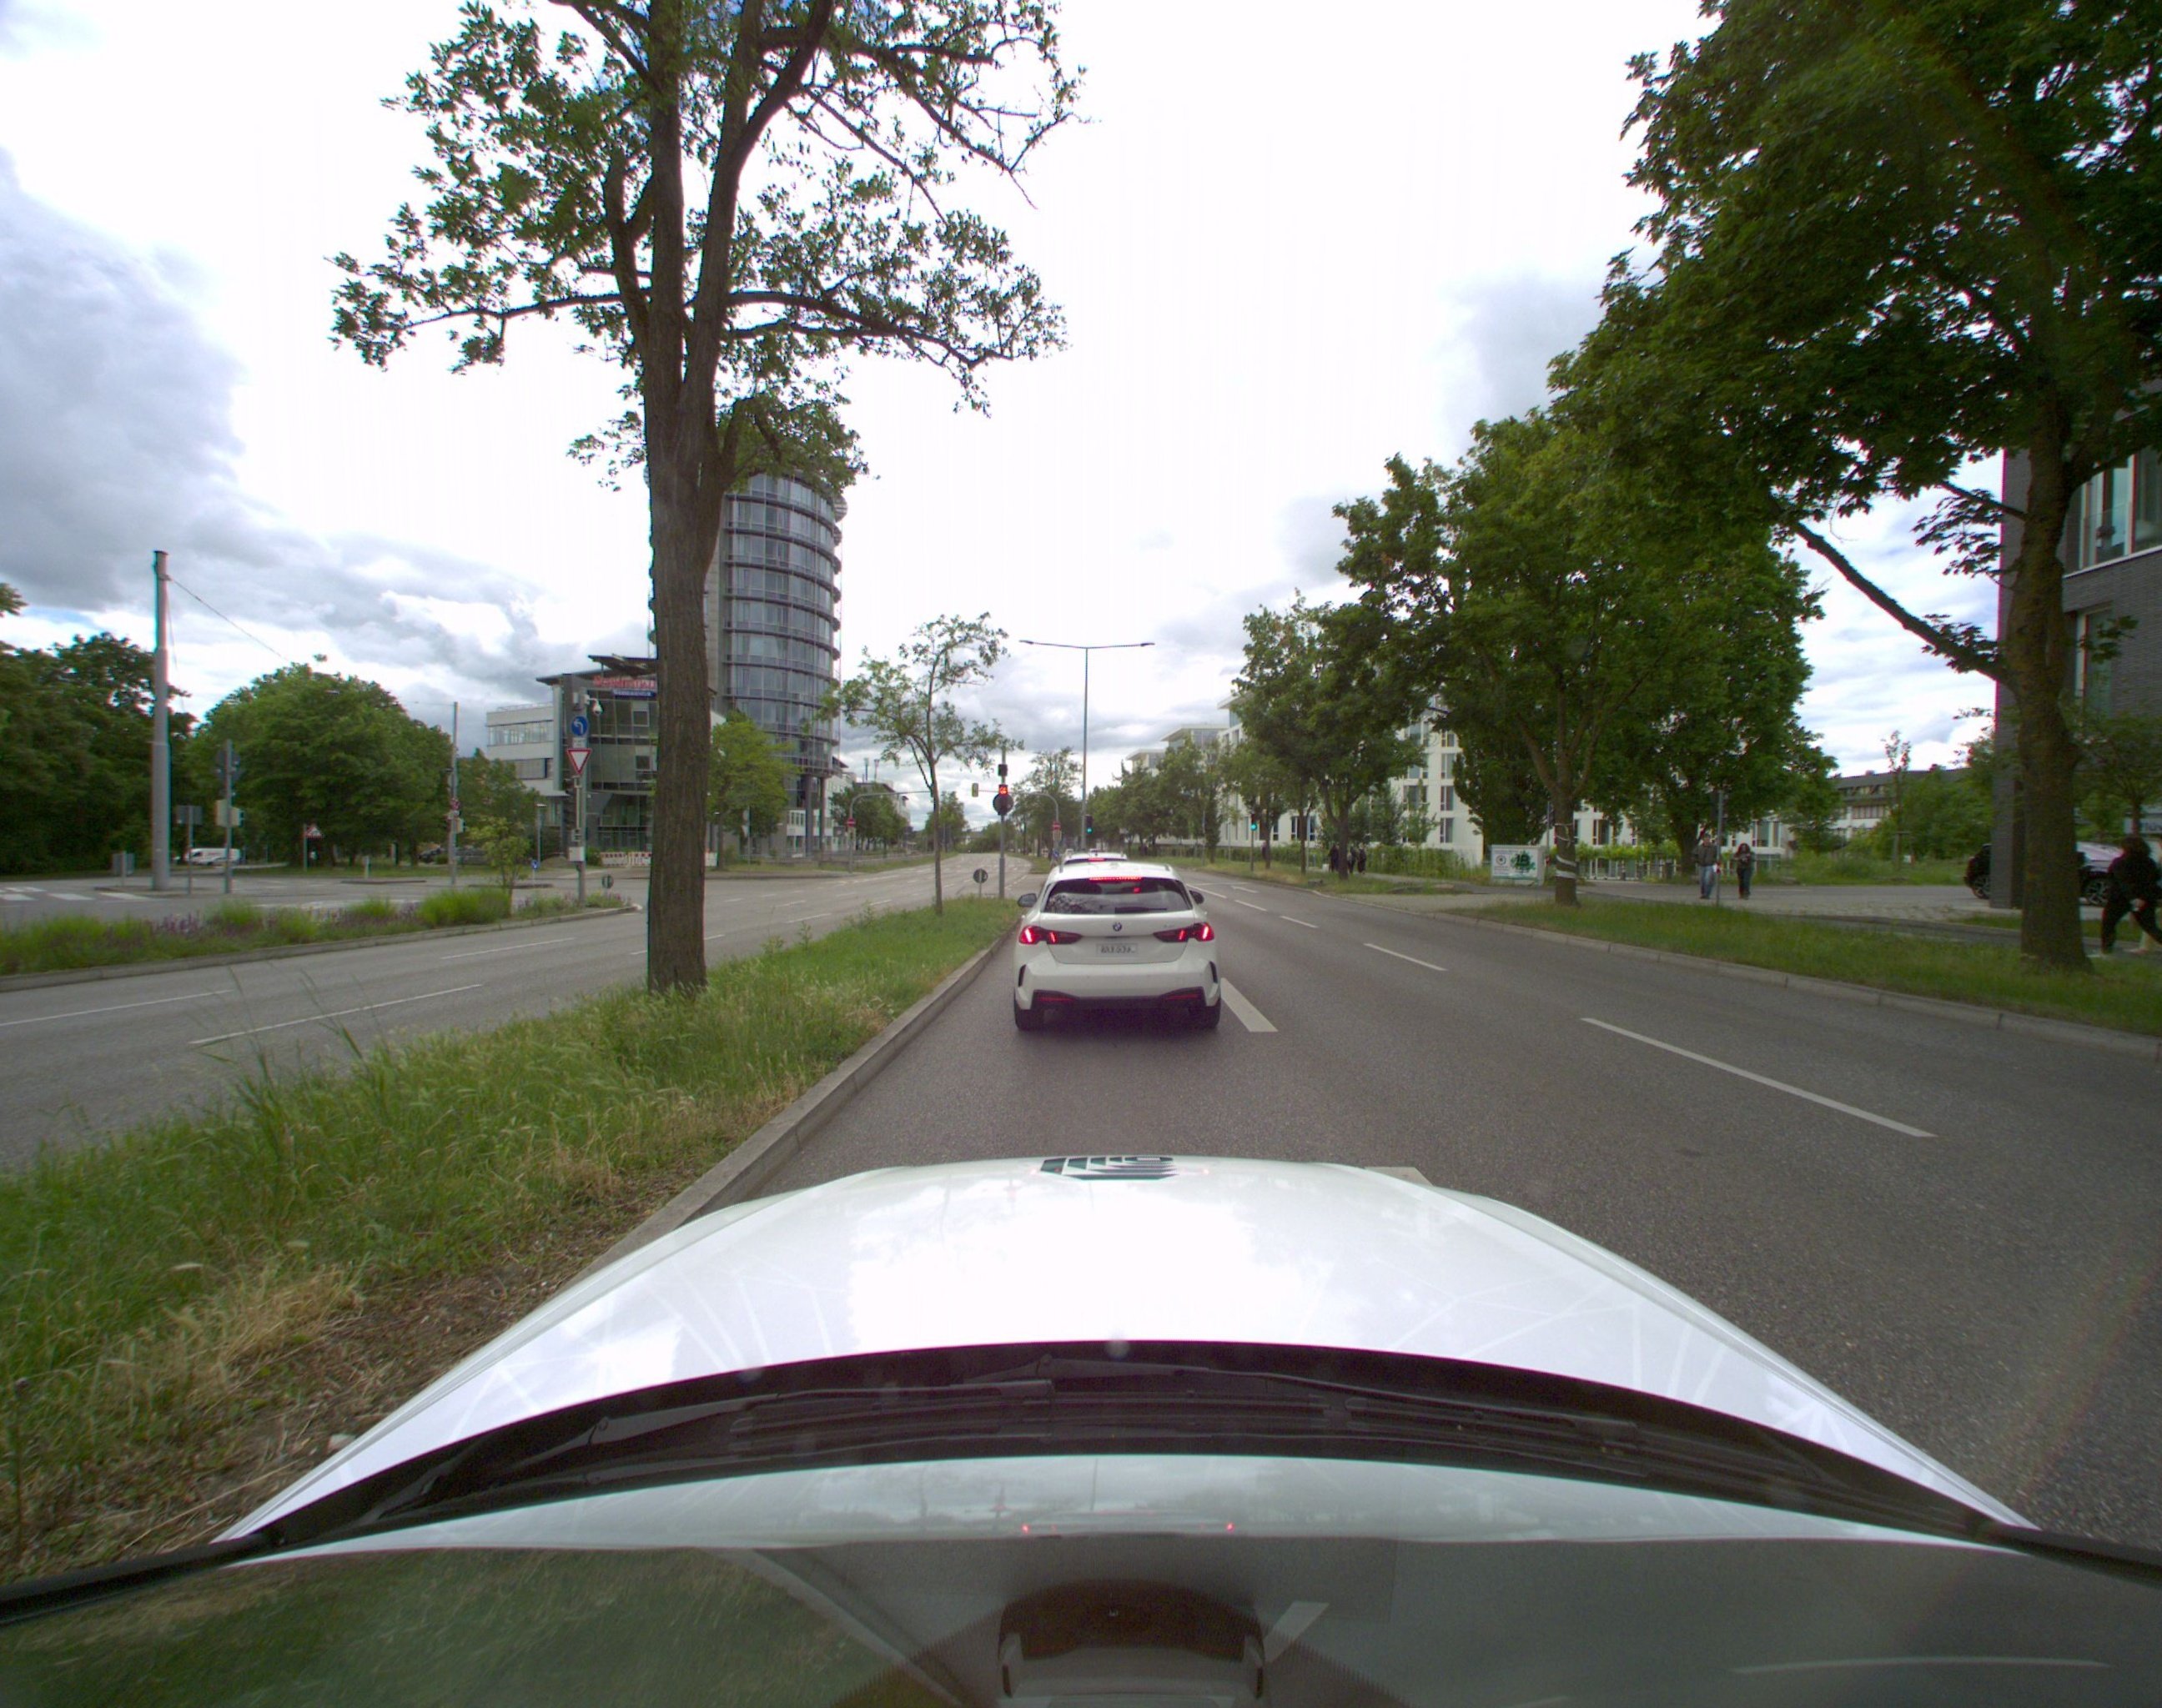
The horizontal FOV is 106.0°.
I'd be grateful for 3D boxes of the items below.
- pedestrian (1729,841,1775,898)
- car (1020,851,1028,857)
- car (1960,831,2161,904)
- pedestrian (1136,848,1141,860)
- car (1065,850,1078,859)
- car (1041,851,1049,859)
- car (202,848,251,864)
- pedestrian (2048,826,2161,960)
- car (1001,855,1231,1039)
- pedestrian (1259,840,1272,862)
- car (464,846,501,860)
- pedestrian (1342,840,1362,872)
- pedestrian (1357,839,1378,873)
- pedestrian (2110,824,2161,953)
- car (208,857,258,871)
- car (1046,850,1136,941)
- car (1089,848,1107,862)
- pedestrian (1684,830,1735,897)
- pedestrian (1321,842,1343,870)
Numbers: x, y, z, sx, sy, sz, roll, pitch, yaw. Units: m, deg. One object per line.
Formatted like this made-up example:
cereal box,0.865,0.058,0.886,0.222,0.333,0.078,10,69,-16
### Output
pedestrian,18.954,0.424,22.997,0.880,1.557,0.825,0,0,-38
car,-14.081,-0.021,201.201,1.597,1.666,3.997,0,0,-2
car,24.885,0.296,20.218,1.749,1.646,4.151,0,0,2
pedestrian,9.287,0.038,131.556,0.763,2.013,0.751,0,0,-13
car,-1.569,0.049,133.614,1.690,1.486,3.685,0,0,-6
car,-8.047,0.277,180.380,1.734,1.666,3.997,0,0,-2
car,-127.259,0.321,121.299,1.978,2.339,4.570,-1,-1,16
pedestrian,13.542,0.478,10.563,0.791,1.660,1.061,0,0,7
car,0.341,0.739,8.445,1.815,1.438,4.002,0,0,2
pedestrian,13.123,-0.187,57.903,0.739,1.574,0.674,0,-1,0
car,-37.368,-0.062,50.878,0.766,0.876,1.730,0,0,38
pedestrian,13.793,0.100,41.461,0.697,1.595,0.883,0,-1,1
pedestrian,14.561,0.094,41.441,0.764,1.685,0.883,0,-1,1
pedestrian,14.317,0.446,10.559,0.774,1.660,0.954,0,0,7
car,-124.429,1.479,119.555,1.978,2.034,4.570,0,0,16
car,0.235,0.712,15.972,1.544,1.569,4.002,0,0,2
car,2.061,0.117,99.849,1.988,1.670,3.998,-2,0,-1
pedestrian,18.026,0.274,23.369,0.983,1.868,0.952,0,0,-38
pedestrian,12.909,0.110,41.921,0.786,1.448,1.112,0,-1,1
